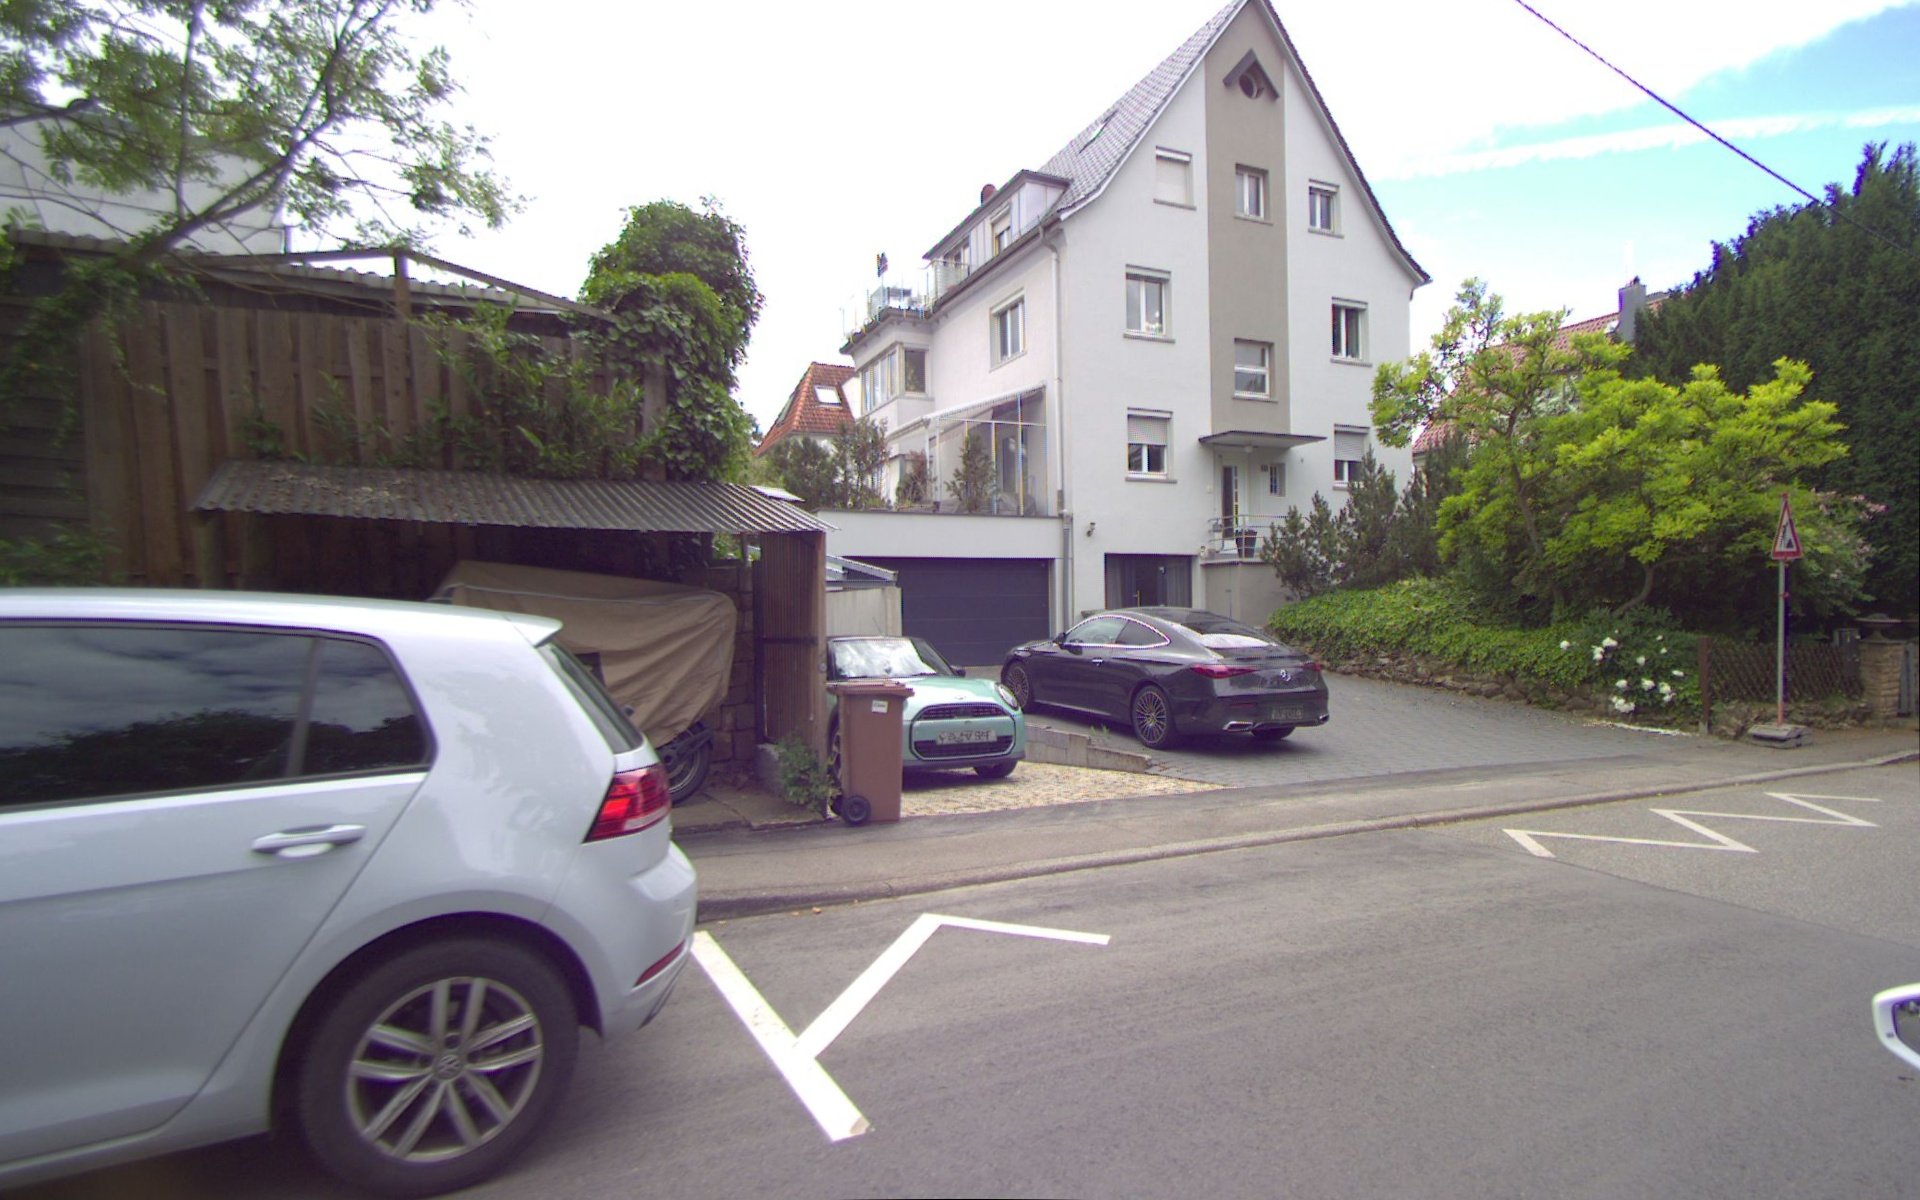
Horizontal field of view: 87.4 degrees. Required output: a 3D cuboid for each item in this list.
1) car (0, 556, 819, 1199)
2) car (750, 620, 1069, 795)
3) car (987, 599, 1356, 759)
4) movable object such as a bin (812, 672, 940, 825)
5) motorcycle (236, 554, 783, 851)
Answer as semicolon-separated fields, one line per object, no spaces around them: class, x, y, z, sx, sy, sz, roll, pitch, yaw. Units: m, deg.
car;-2.572;0.641;2.596;4.029;1.487;1.697;1;0;-31
car;-0.740;1.013;10.356;1.629;1.405;4.033;0;-4;-30
car;2.214;0.763;11.848;1.855;1.460;4.463;1;0;-27
movable object such as a bin;-0.575;0.969;6.772;0.691;0.921;0.589;1;0;-25
motorcycle;-2.595;0.547;6.145;2.861;1.505;0.806;1;0;-29
